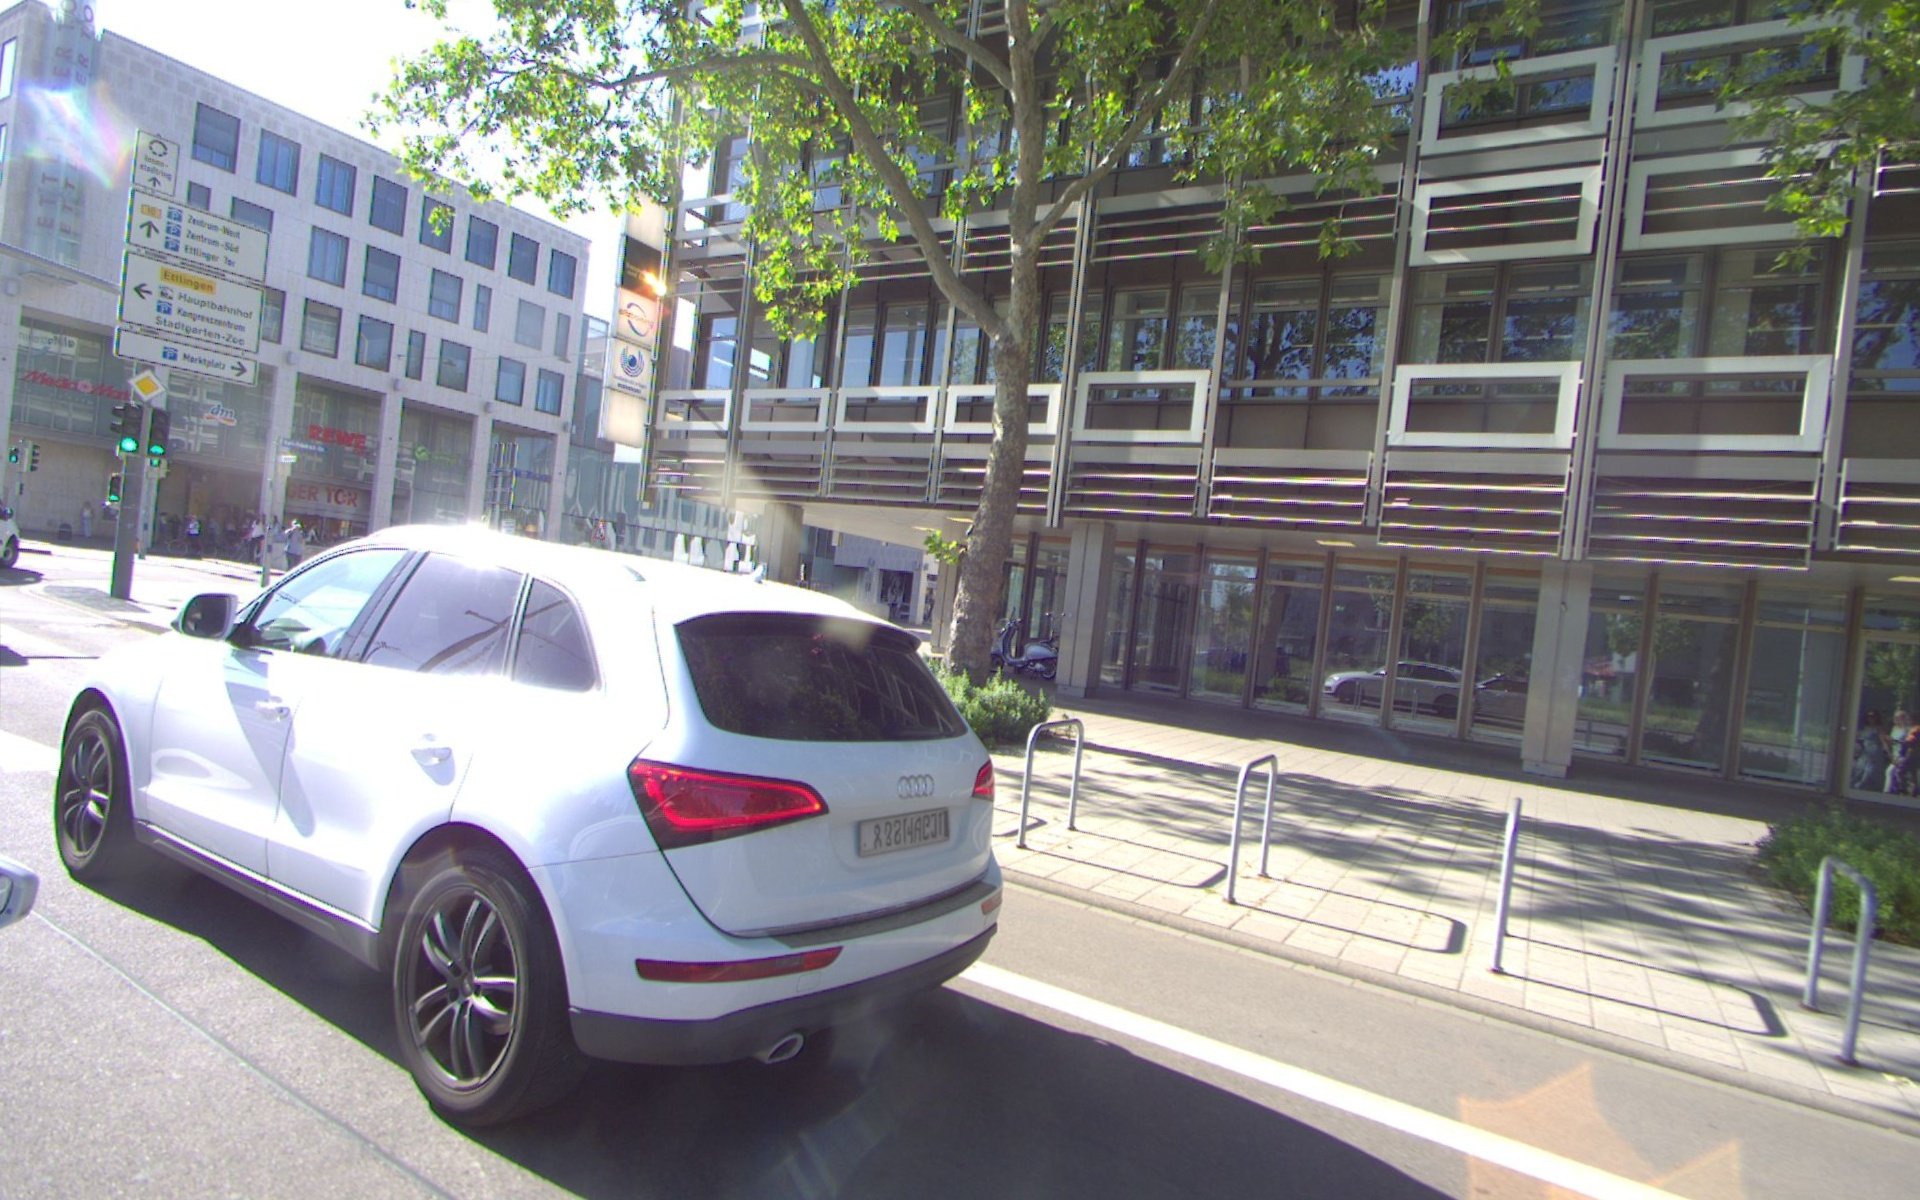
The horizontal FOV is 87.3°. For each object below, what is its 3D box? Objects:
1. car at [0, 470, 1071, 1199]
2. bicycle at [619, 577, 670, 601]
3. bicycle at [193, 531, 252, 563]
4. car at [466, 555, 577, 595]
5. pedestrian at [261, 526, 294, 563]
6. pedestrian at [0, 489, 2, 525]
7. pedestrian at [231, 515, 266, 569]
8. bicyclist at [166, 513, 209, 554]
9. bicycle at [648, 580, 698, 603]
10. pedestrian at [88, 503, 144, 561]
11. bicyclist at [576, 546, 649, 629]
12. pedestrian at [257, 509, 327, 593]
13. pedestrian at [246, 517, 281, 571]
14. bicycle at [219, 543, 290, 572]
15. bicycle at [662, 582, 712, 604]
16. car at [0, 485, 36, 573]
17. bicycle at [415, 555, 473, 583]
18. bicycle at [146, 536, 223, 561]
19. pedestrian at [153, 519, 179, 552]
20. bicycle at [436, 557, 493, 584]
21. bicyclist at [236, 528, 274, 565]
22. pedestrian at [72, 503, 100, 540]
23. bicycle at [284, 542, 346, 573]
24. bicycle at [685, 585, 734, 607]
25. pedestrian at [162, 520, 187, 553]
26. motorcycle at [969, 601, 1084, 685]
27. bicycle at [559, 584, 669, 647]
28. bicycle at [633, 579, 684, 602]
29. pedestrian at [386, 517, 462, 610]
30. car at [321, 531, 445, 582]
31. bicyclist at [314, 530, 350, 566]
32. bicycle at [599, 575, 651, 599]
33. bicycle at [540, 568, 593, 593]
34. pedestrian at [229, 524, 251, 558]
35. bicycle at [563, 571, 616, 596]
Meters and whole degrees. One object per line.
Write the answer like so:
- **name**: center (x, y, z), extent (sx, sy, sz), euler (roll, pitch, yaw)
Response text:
- **car**: center (-1.972, 0.508, 4.171), extent (4.340, 1.633, 1.822), euler (7, -1, 32)
- **bicycle**: center (-19.852, -0.687, 63.189), extent (3.441, 1.107, 1.067), euler (6, -1, 34)
- **bicycle**: center (-32.595, -2.334, 44.451), extent (2.943, 1.107, 1.067), euler (6, -1, 33)
- **car**: center (-21.091, -1.186, 48.530), extent (1.831, 1.437, 4.608), euler (5, -2, 33)
- **pedestrian**: center (-34.082, -2.774, 50.246), extent (0.846, 1.704, 0.978), euler (7, 0, 29)
- **pedestrian**: center (-36.959, -3.338, 38.052), extent (1.048, 1.825, 0.728), euler (6, 2, 31)
- **pedestrian**: center (-22.932, -1.862, 32.406), extent (0.517, 1.634, 0.661), euler (6, 2, 22)
- **bicyclist**: center (-31.171, -2.671, 40.594), extent (1.055, 1.494, 1.022), euler (7, 0, 35)
- **bicycle**: center (-18.656, -0.558, 65.278), extent (3.441, 1.107, 1.067), euler (6, -1, 34)
- **pedestrian**: center (-29.093, -2.328, 34.686), extent (1.497, 1.825, 0.967), euler (6, 2, 31)
- **bicyclist**: center (-6.889, -0.244, 19.973), extent (0.869, 1.495, 0.882), euler (7, 0, 31)
- **pedestrian**: center (-17.762, -1.289, 26.776), extent (1.059, 2.038, 0.949), euler (7, 0, 20)
- **pedestrian**: center (-22.373, -1.786, 32.309), extent (0.517, 1.634, 0.661), euler (6, 2, 22)
- **bicycle**: center (-29.907, -1.791, 42.672), extent (1.055, 0.955, 2.194), euler (6, -1, 34)
- **bicycle**: center (-17.987, -0.477, 66.233), extent (3.441, 1.107, 1.067), euler (6, -1, 34)
- **car**: center (-19.745, -1.500, 19.327), extent (1.770, 1.754, 4.135), euler (7, -1, -28)
- **bicycle**: center (-26.964, -1.641, 52.530), extent (3.441, 1.107, 1.067), euler (6, -1, 34)
- **bicycle**: center (-31.251, -2.061, 40.561), extent (1.055, 0.679, 2.194), euler (6, -1, 34)
- **pedestrian**: center (-41.400, -3.366, 52.476), extent (0.737, 1.628, 0.556), euler (7, 1, -5)
- **bicycle**: center (-26.391, -1.583, 53.567), extent (3.441, 1.107, 1.067), euler (6, -1, 34)
- **bicyclist**: center (-29.872, -2.260, 42.632), extent (1.059, 1.413, 0.933), euler (6, 0, 35)
- **pedestrian**: center (-41.428, -3.709, 47.669), extent (0.547, 1.628, 0.748), euler (8, 1, 30)
- **bicycle**: center (-30.327, -1.987, 47.293), extent (3.440, 1.107, 1.067), euler (6, -1, 33)
- **bicycle**: center (-16.783, -0.251, 67.358), extent (3.441, 1.107, 1.067), euler (6, -1, 34)
- **pedestrian**: center (-41.473, -3.344, 53.133), extent (0.737, 1.628, 0.556), euler (7, 1, -6)
- **motorcycle**: center (1.355, 0.876, 20.729), extent (2.087, 1.459, 0.824), euler (6, 0, 32)
- **bicycle**: center (-6.863, 0.298, 19.923), extent (2.017, 0.997, 0.882), euler (7, 0, 31)
- **bicycle**: center (-19.269, -0.617, 64.276), extent (3.441, 1.107, 1.067), euler (6, -1, 34)
- **pedestrian**: center (-12.734, -0.854, 23.922), extent (1.060, 2.038, 0.949), euler (7, 0, 24)
- **car**: center (-24.725, -1.847, 43.255), extent (1.831, 1.632, 4.189), euler (5, -2, 33)
- **bicyclist**: center (-28.211, -2.320, 45.162), extent (1.024, 1.451, 0.933), euler (6, 0, 35)
- **bicycle**: center (-20.707, -0.818, 62.125), extent (3.441, 1.107, 1.067), euler (6, -1, 34)
- **bicycle**: center (-23.194, -1.174, 59.256), extent (3.441, 1.107, 1.067), euler (6, -1, 34)
- **pedestrian**: center (-40.055, -3.297, 55.990), extent (0.639, 1.785, 0.556), euler (7, 1, -5)
- **bicycle**: center (-22.100, -0.964, 59.933), extent (3.441, 1.107, 1.067), euler (6, -1, 34)
